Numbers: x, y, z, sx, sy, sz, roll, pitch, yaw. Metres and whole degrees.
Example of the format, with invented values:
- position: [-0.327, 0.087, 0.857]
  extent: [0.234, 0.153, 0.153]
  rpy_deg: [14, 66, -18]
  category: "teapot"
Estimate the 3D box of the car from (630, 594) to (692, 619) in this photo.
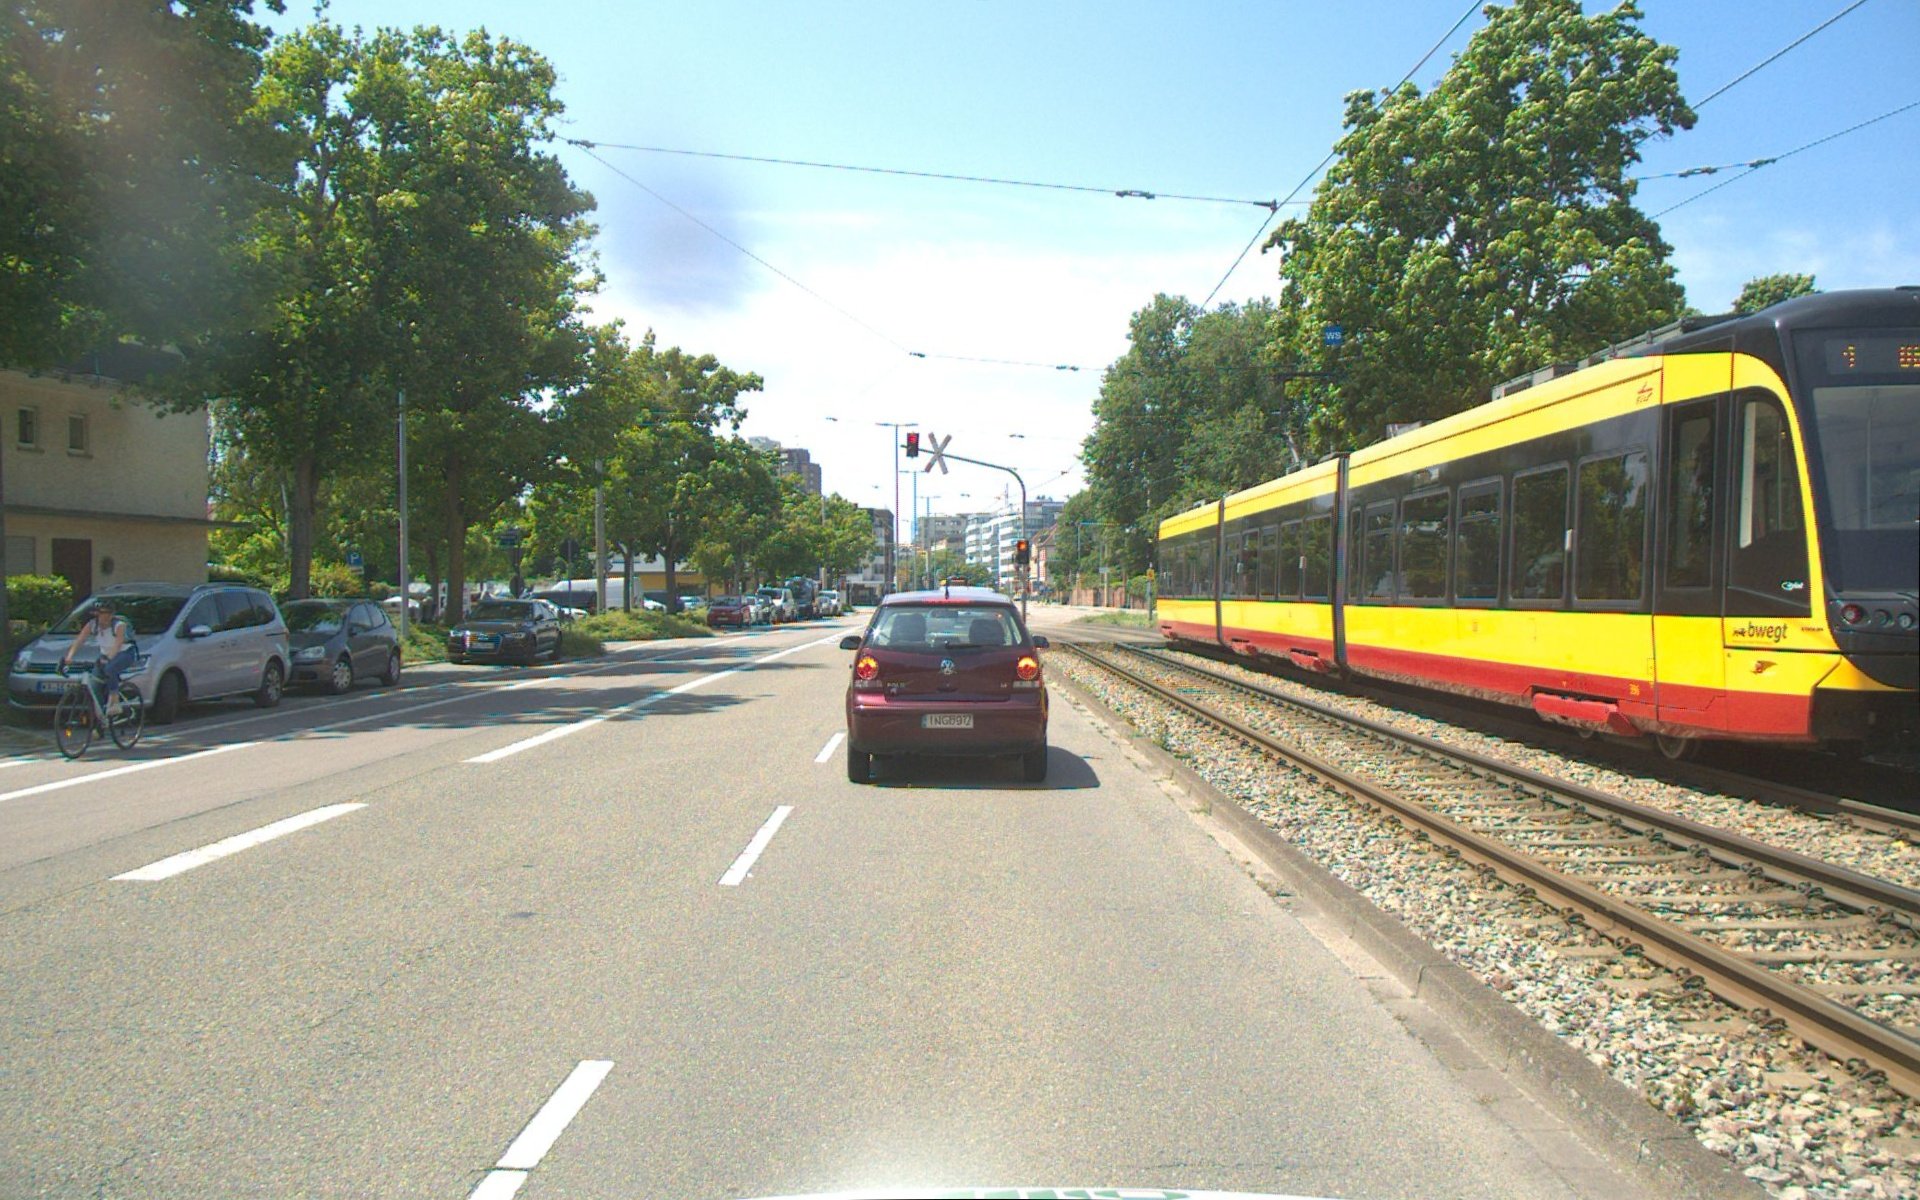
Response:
- position: [-21.102, 0.499, 116.842]
  extent: [3.937, 1.645, 1.816]
  rpy_deg: [2, -1, 0]
  category: "car"

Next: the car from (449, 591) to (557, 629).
- position: [-20.559, 0.459, 74.507]
  extent: [4.251, 1.612, 1.914]
  rpy_deg: [-1, 0, 6]
  category: "car"

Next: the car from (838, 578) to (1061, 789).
- position: [-0.116, 0.612, 14.358]
  extent: [1.638, 1.548, 3.999]
  rpy_deg: [1, 0, -1]
  category: "car"

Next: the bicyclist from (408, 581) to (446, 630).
- position: [-15.703, 0.163, 48.775]
  extent: [0.792, 1.398, 0.828]
  rpy_deg: [1, -1, 2]
  category: "bicyclist"

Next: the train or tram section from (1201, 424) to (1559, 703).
- position: [6.829, -0.550, 29.673]
  extent: [2.966, 3.864, 13.088]
  rpy_deg: [0, 0, -1]
  category: "train or tram section"

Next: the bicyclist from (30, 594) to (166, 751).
- position: [-8.556, 0.696, 16.463]
  extent: [0.720, 1.455, 1.124]
  rpy_deg: [-3, 0, -4]
  category: "bicyclist"

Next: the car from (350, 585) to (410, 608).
- position: [-44.871, -0.240, 128.069]
  extent: [3.937, 1.645, 1.816]
  rpy_deg: [2, -1, 0]
  category: "car"

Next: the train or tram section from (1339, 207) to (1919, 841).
- position: [6.866, -0.515, 16.658]
  extent: [2.966, 3.864, 13.088]
  rpy_deg: [0, 0, -1]
  category: "train or tram section"

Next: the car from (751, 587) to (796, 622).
- position: [-10.477, 0.277, 93.330]
  extent: [1.746, 1.914, 4.787]
  rpy_deg: [1, -1, 2]
  category: "car"

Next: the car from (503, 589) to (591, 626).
- position: [-20.579, 0.355, 82.530]
  extent: [3.906, 1.776, 1.998]
  rpy_deg: [-1, 0, -2]
  category: "car"

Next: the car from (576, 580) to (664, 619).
- position: [-21.407, -0.038, 104.296]
  extent: [4.992, 2.284, 2.378]
  rpy_deg: [2, -1, 1]
  category: "car"

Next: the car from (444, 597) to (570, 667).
- position: [-10.537, 0.697, 38.790]
  extent: [1.781, 1.502, 4.448]
  rpy_deg: [1, 0, -1]
  category: "car"

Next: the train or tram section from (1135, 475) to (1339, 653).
- position: [6.722, -0.829, 42.472]
  extent: [2.966, 3.864, 12.758]
  rpy_deg: [0, 0, -1]
  category: "train or tram section"

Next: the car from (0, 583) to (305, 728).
- position: [-10.460, 0.631, 21.781]
  extent: [1.834, 1.693, 4.780]
  rpy_deg: [0, 1, -1]
  category: "car"

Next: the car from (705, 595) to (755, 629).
- position: [-10.633, 0.559, 76.539]
  extent: [1.628, 1.523, 4.000]
  rpy_deg: [2, -1, 1]
  category: "car"

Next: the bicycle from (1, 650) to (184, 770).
- position: [-8.546, 1.052, 16.416]
  extent: [0.688, 0.967, 2.242]
  rpy_deg: [-3, 1, -3]
  category: "bicycle"

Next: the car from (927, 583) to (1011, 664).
- position: [0.145, 0.489, 36.901]
  extent: [1.741, 1.676, 3.999]
  rpy_deg: [1, 0, -1]
  category: "car"

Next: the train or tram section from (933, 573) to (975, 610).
- position: [-0.731, -0.893, 170.236]
  extent: [2.689, 3.672, 12.849]
  rpy_deg: [1, 0, -7]
  category: "train or tram section"

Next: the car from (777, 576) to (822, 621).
- position: [-10.285, -0.083, 106.377]
  extent: [2.313, 2.739, 5.307]
  rpy_deg: [2, -1, 0]
  category: "car"

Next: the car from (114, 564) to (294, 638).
- position: [-33.212, 0.056, 72.791]
  extent: [6.713, 3.017, 2.363]
  rpy_deg: [2, -1, -2]
  category: "car"

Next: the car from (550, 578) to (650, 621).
- position: [-20.223, -0.018, 93.134]
  extent: [4.992, 2.284, 2.378]
  rpy_deg: [2, -1, 1]
  category: "car"

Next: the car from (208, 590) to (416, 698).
- position: [-10.473, 0.657, 27.076]
  extent: [1.781, 1.592, 4.180]
  rpy_deg: [1, 0, -1]
  category: "car"

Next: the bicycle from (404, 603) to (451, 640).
- position: [-15.688, 0.627, 48.741]
  extent: [0.686, 1.047, 1.829]
  rpy_deg: [1, -1, 3]
  category: "bicycle"

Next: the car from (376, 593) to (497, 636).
- position: [-21.061, 0.568, 66.682]
  extent: [4.256, 1.612, 1.912]
  rpy_deg: [-1, 0, -3]
  category: "car"

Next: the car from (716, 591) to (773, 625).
- position: [-10.803, 0.409, 83.087]
  extent: [1.934, 1.629, 4.560]
  rpy_deg: [1, -1, 4]
  category: "car"
